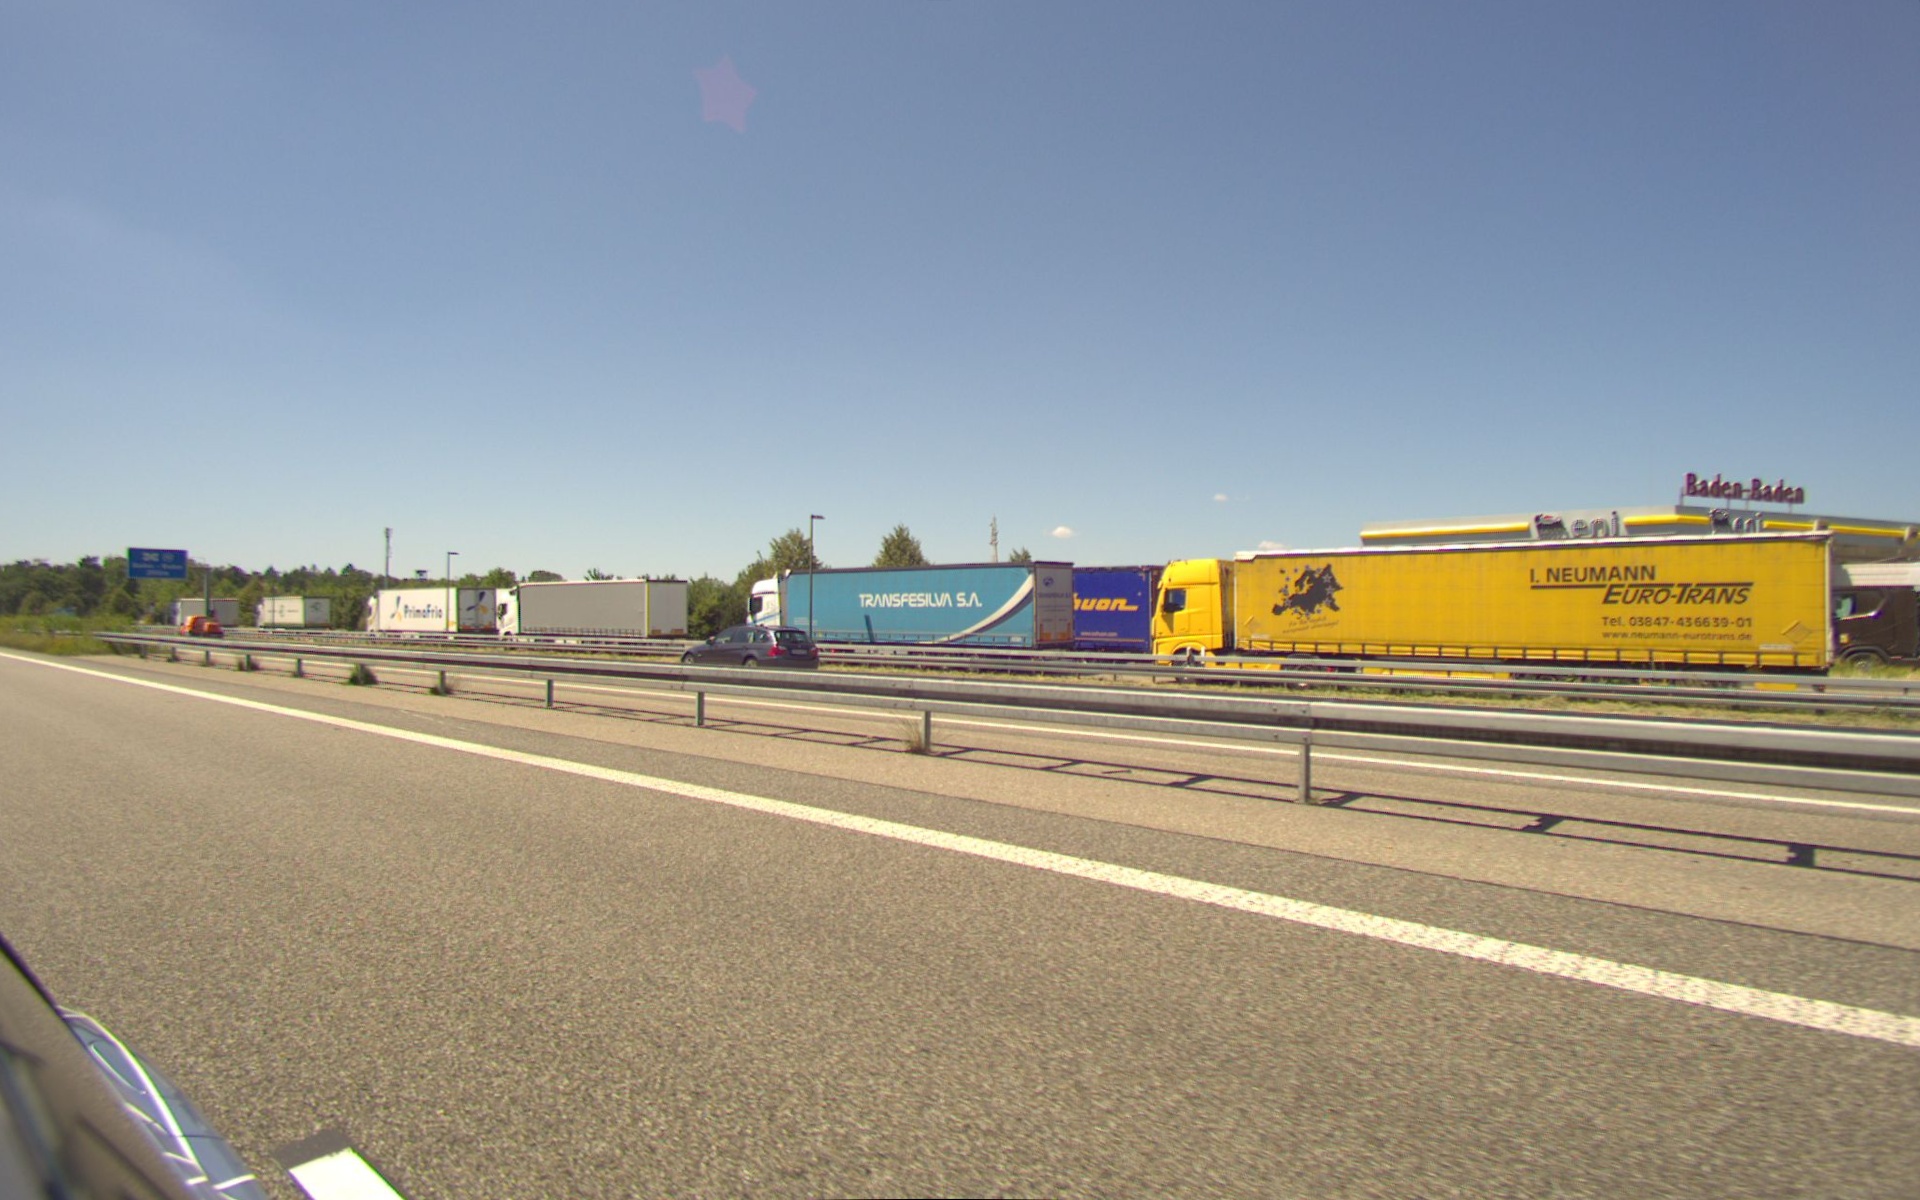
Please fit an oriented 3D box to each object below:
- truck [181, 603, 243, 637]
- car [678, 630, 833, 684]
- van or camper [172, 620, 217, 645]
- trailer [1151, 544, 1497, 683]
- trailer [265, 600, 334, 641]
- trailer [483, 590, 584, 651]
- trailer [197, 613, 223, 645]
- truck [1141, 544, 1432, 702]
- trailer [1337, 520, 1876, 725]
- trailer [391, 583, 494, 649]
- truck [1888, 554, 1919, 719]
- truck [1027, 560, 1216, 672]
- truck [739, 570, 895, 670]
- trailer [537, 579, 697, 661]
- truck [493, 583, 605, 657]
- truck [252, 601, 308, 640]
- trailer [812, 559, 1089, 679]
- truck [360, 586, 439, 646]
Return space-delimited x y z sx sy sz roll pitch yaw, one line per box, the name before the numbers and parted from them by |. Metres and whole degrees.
truck | -85.634 2.239 115.706 13.598 3.670 2.770 -1 0 41
car | -5.453 1.478 26.743 4.316 1.286 1.723 -1 -4 41
van or camper | -59.959 2.513 79.278 4.744 1.853 1.877 -1 -2 41
trailer | 12.251 0.458 35.315 11.081 4.180 2.803 -1 0 42
trailer | -72.211 2.212 110.483 12.003 4.187 3.062 -1 0 41
trailer | -30.291 1.439 71.648 9.302 4.036 2.668 -1 0 41
trailer | -56.756 2.207 76.581 1.997 2.387 1.155 -1 -2 41
truck | 9.704 0.639 30.759 7.912 4.232 2.804 -1 0 40
trailer | 15.654 0.523 25.682 11.074 4.251 2.805 -1 0 40
trailer | -36.137 1.090 70.428 10.508 4.250 2.572 -1 0 41
truck | 31.789 1.023 28.765 7.878 4.886 2.993 -1 0 43
truck | 6.370 0.612 40.663 7.088 4.104 2.803 -1 0 42
truck | -6.456 0.846 45.087 7.084 4.104 2.821 -1 0 40
trailer | -19.312 1.081 56.409 11.005 4.189 3.082 -1 0 40
truck | -24.884 1.188 61.088 7.498 4.189 3.086 -1 0 40
truck | -77.118 2.297 114.721 8.311 4.183 3.063 -1 0 41
trailer | -0.752 0.709 40.258 12.074 4.180 2.805 -1 0 40
truck | -41.829 1.183 75.370 7.931 4.220 2.555 -1 -1 41
